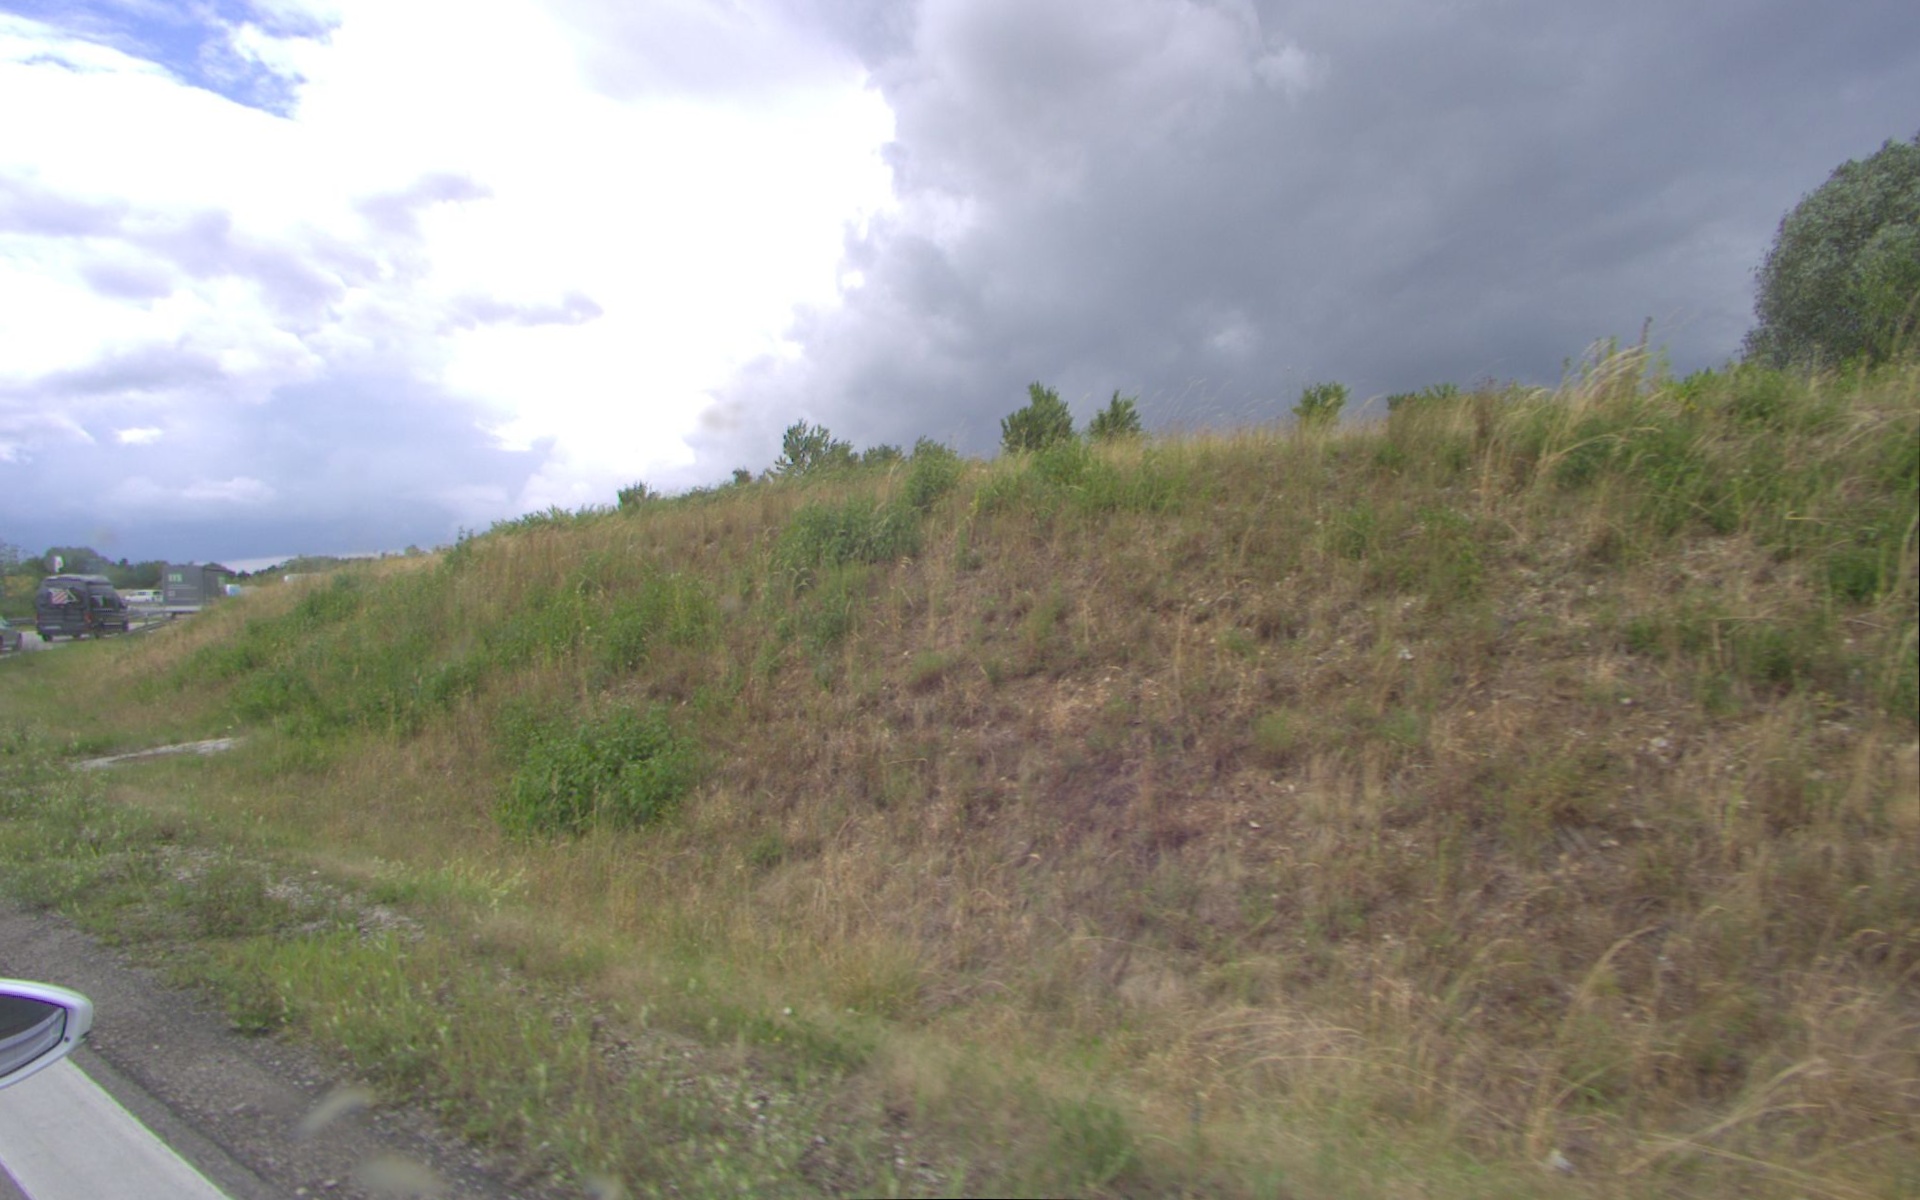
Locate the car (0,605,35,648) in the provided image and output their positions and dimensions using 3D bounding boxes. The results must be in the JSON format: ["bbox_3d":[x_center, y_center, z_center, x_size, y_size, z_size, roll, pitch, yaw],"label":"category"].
[{"bbox_3d":[-35.067,0.968,35.910,1.845,1.529,3.981,0,-1,-29],"label":"car"}]

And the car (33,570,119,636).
[{"bbox_3d":[-39.778,0.185,45.188,2.081,2.832,3.981,1,-2,-30],"label":"car"}]

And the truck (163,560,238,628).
[{"bbox_3d":[-48.478,-0.293,64.078,2.198,3.955,6.003,0,-2,-21],"label":"truck"}]
